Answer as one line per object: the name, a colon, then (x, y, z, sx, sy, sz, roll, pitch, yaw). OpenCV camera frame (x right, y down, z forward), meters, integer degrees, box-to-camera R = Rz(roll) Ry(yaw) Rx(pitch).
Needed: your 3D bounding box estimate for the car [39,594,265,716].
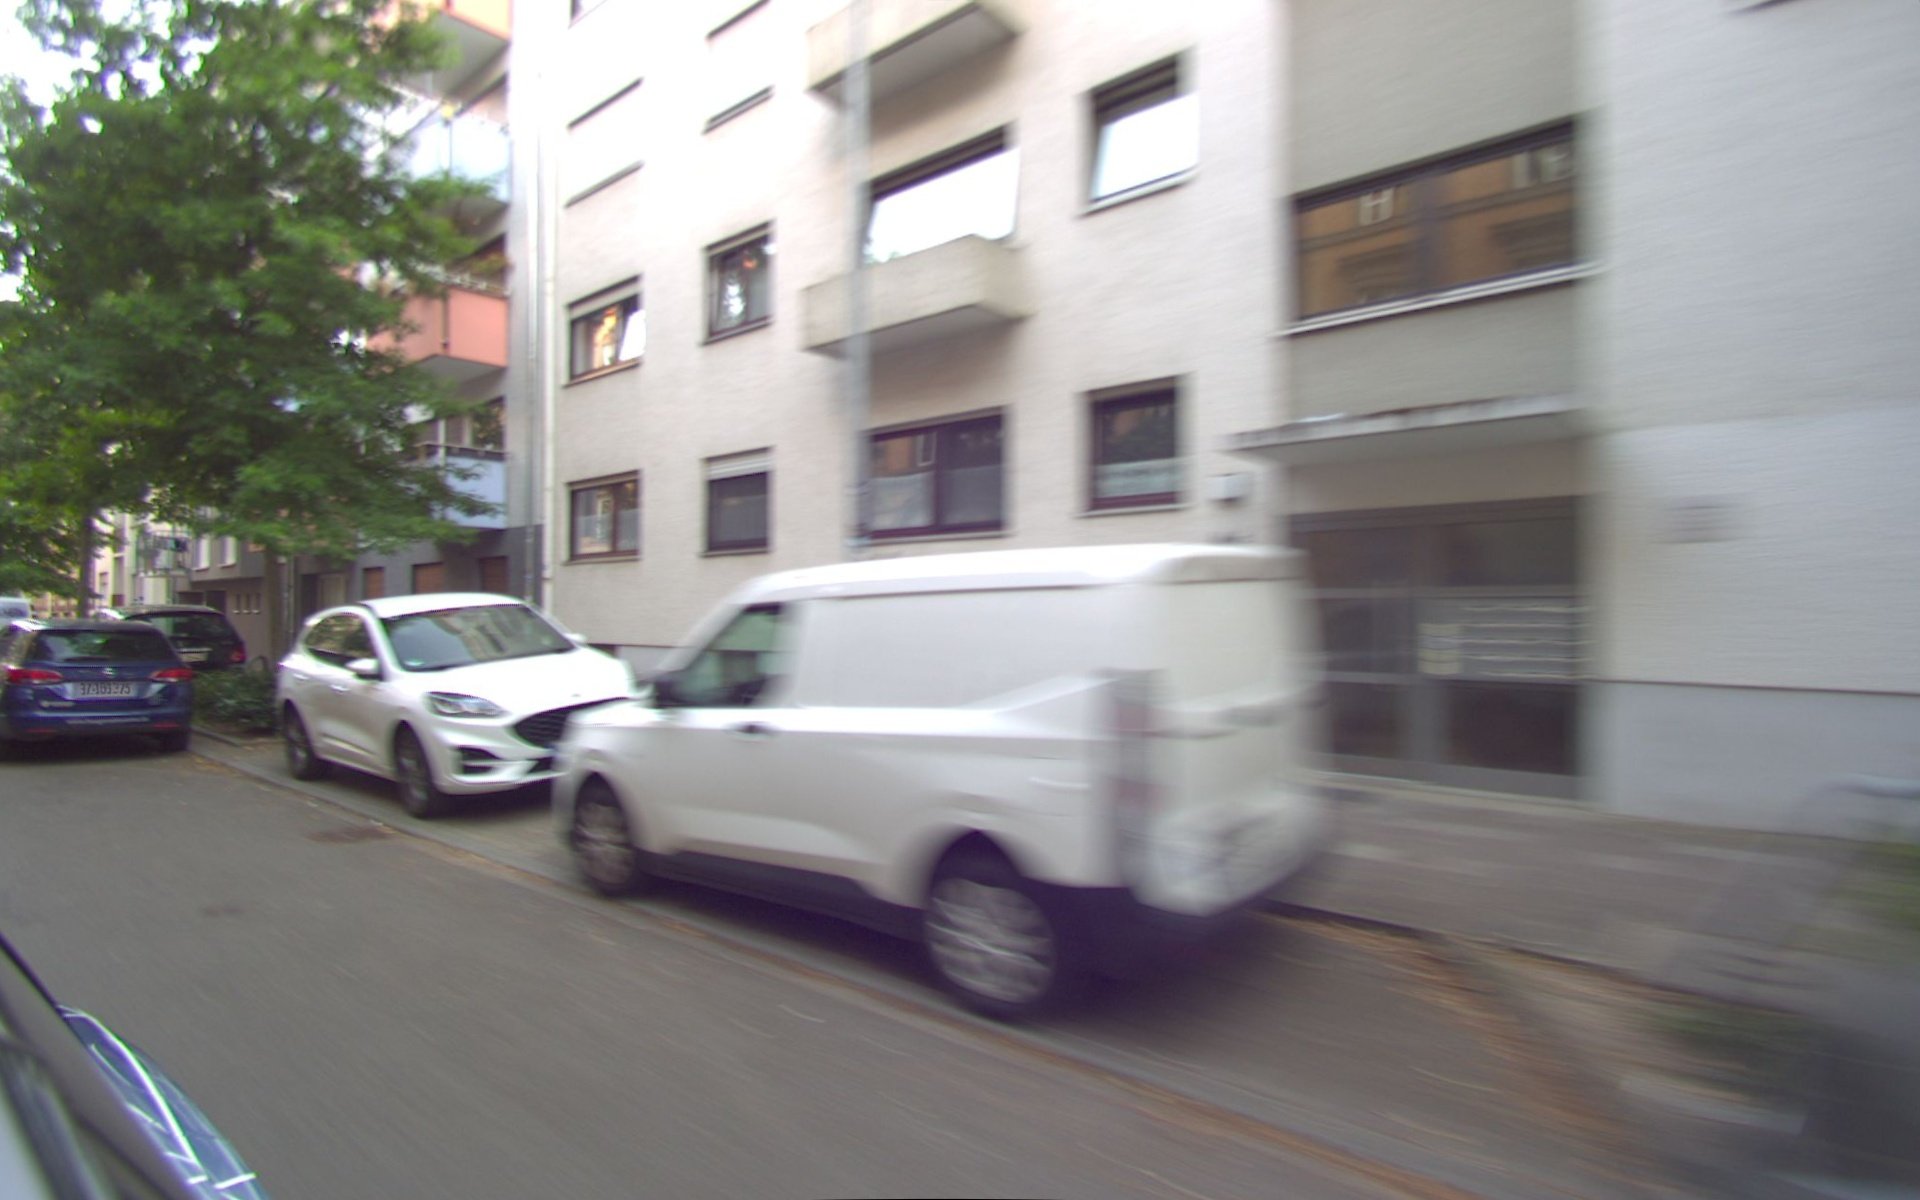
car: (-13.179, 0.794, 16.380, 4.919, 1.659, 1.973, -1, 0, 41)

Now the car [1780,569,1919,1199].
car: (3.061, 0.674, 0.151, 4.500, 1.462, 1.827, -1, -1, 41)

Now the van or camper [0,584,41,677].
van or camper: (-21.285, 0.640, 21.530, 4.748, 1.857, 1.858, -1, -2, 39)

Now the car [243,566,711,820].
car: (-4.524, 0.650, 9.142, 4.644, 1.685, 2.014, -1, 2, 40)

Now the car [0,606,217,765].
car: (-10.409, 0.846, 11.815, 4.513, 1.529, 1.811, -1, -1, 40)

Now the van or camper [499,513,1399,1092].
van or camper: (-0.357, 0.620, 5.259, 4.461, 1.773, 1.912, -1, 2, 40)
